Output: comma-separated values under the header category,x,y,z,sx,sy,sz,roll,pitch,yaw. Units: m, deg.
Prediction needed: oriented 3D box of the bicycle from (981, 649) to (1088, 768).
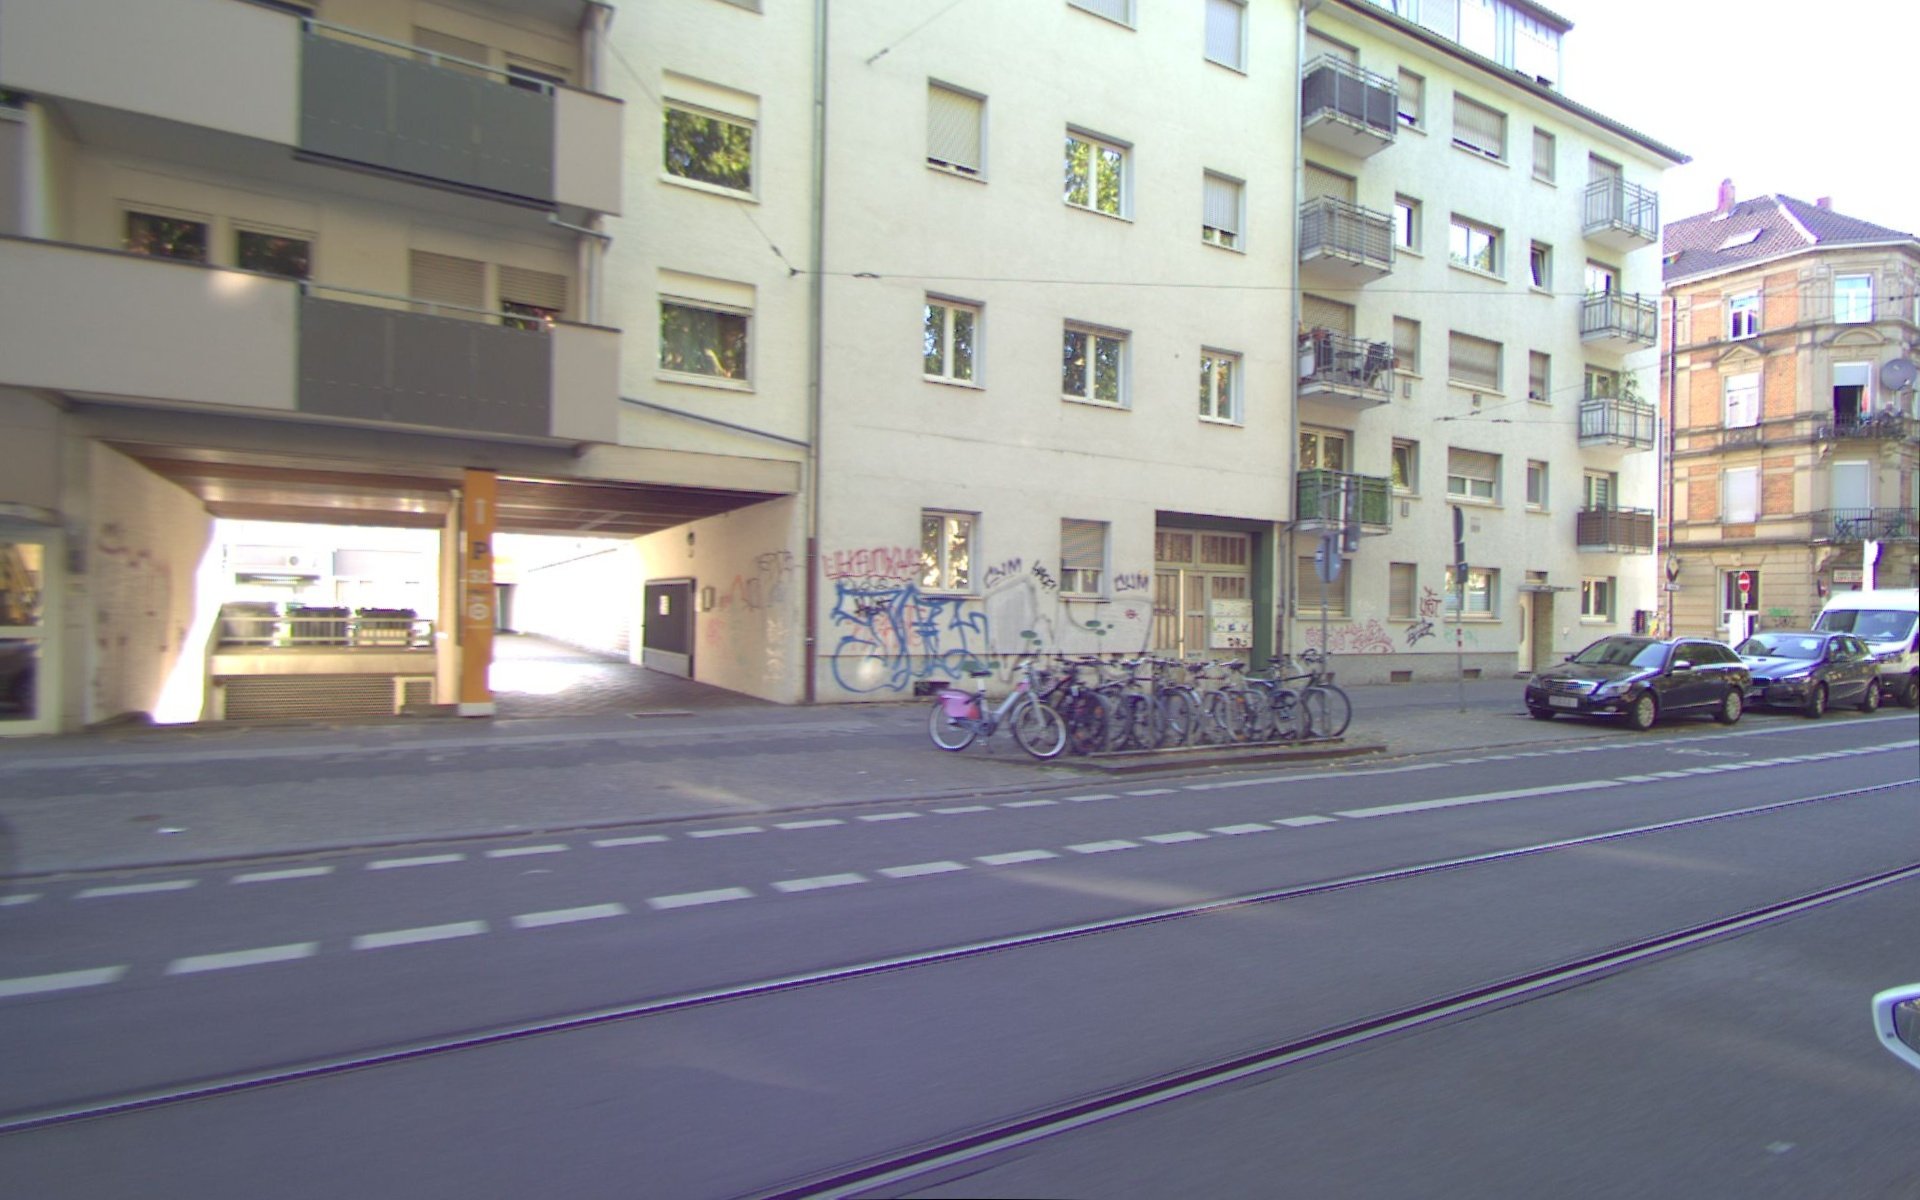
category,x,y,z,sx,sy,sz,roll,pitch,yaw
bicycle,0.810,1.187,11.525,0.396,1.134,1.889,1,1,-22

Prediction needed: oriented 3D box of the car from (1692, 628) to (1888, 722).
category,x,y,z,sx,sy,sz,roll,pitch,yaw
car,16.464,1.416,19.876,4.298,1.653,1.709,1,-1,-32

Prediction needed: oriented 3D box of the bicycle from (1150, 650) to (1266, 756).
category,x,y,z,sx,sy,sz,roll,pitch,yaw
bicycle,3.099,1.262,12.712,0.418,1.134,1.785,1,1,-22

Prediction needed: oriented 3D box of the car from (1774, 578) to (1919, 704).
category,x,y,z,sx,sy,sz,roll,pitch,yaw
car,21.092,0.905,22.827,5.596,2.569,2.056,1,-1,-29

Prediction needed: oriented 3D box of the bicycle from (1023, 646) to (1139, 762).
category,x,y,z,sx,sy,sz,roll,pitch,yaw
bicycle,1.376,1.167,11.790,0.433,1.134,1.926,1,1,-22

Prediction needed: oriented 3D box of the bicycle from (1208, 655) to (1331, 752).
category,x,y,z,sx,sy,sz,roll,pitch,yaw
bicycle,3.986,1.304,13.085,0.396,1.051,1.889,1,1,-22

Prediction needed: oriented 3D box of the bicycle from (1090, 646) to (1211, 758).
category,x,y,z,sx,sy,sz,roll,pitch,yaw
bicycle,2.277,1.191,12.256,0.418,1.134,1.964,1,1,-22

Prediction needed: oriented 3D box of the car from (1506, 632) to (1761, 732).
category,x,y,z,sx,sy,sz,roll,pitch,yaw
car,11.453,1.312,17.013,4.515,1.476,1.711,1,-1,-29

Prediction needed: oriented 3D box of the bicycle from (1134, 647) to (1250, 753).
category,x,y,z,sx,sy,sz,roll,pitch,yaw
bicycle,2.863,1.206,12.596,0.418,1.134,1.815,1,1,-22

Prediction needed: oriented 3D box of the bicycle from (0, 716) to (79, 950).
category,x,y,z,sx,sy,sz,roll,pitch,yaw
bicycle,-5.188,1.076,4.399,1.924,1.031,0.415,1,-2,-30

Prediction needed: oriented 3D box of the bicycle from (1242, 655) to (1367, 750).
category,x,y,z,sx,sy,sz,roll,pitch,yaw
bicycle,4.532,1.319,13.362,0.396,1.051,1.889,1,1,-22

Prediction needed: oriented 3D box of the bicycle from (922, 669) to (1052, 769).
category,x,y,z,sx,sy,sz,roll,pitch,yaw
bicycle,0.275,1.301,11.289,1.601,0.929,0.400,2,1,44

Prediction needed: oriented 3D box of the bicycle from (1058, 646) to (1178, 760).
category,x,y,z,sx,sy,sz,roll,pitch,yaw
bicycle,1.846,1.179,12.040,0.433,1.134,1.956,1,1,-22
